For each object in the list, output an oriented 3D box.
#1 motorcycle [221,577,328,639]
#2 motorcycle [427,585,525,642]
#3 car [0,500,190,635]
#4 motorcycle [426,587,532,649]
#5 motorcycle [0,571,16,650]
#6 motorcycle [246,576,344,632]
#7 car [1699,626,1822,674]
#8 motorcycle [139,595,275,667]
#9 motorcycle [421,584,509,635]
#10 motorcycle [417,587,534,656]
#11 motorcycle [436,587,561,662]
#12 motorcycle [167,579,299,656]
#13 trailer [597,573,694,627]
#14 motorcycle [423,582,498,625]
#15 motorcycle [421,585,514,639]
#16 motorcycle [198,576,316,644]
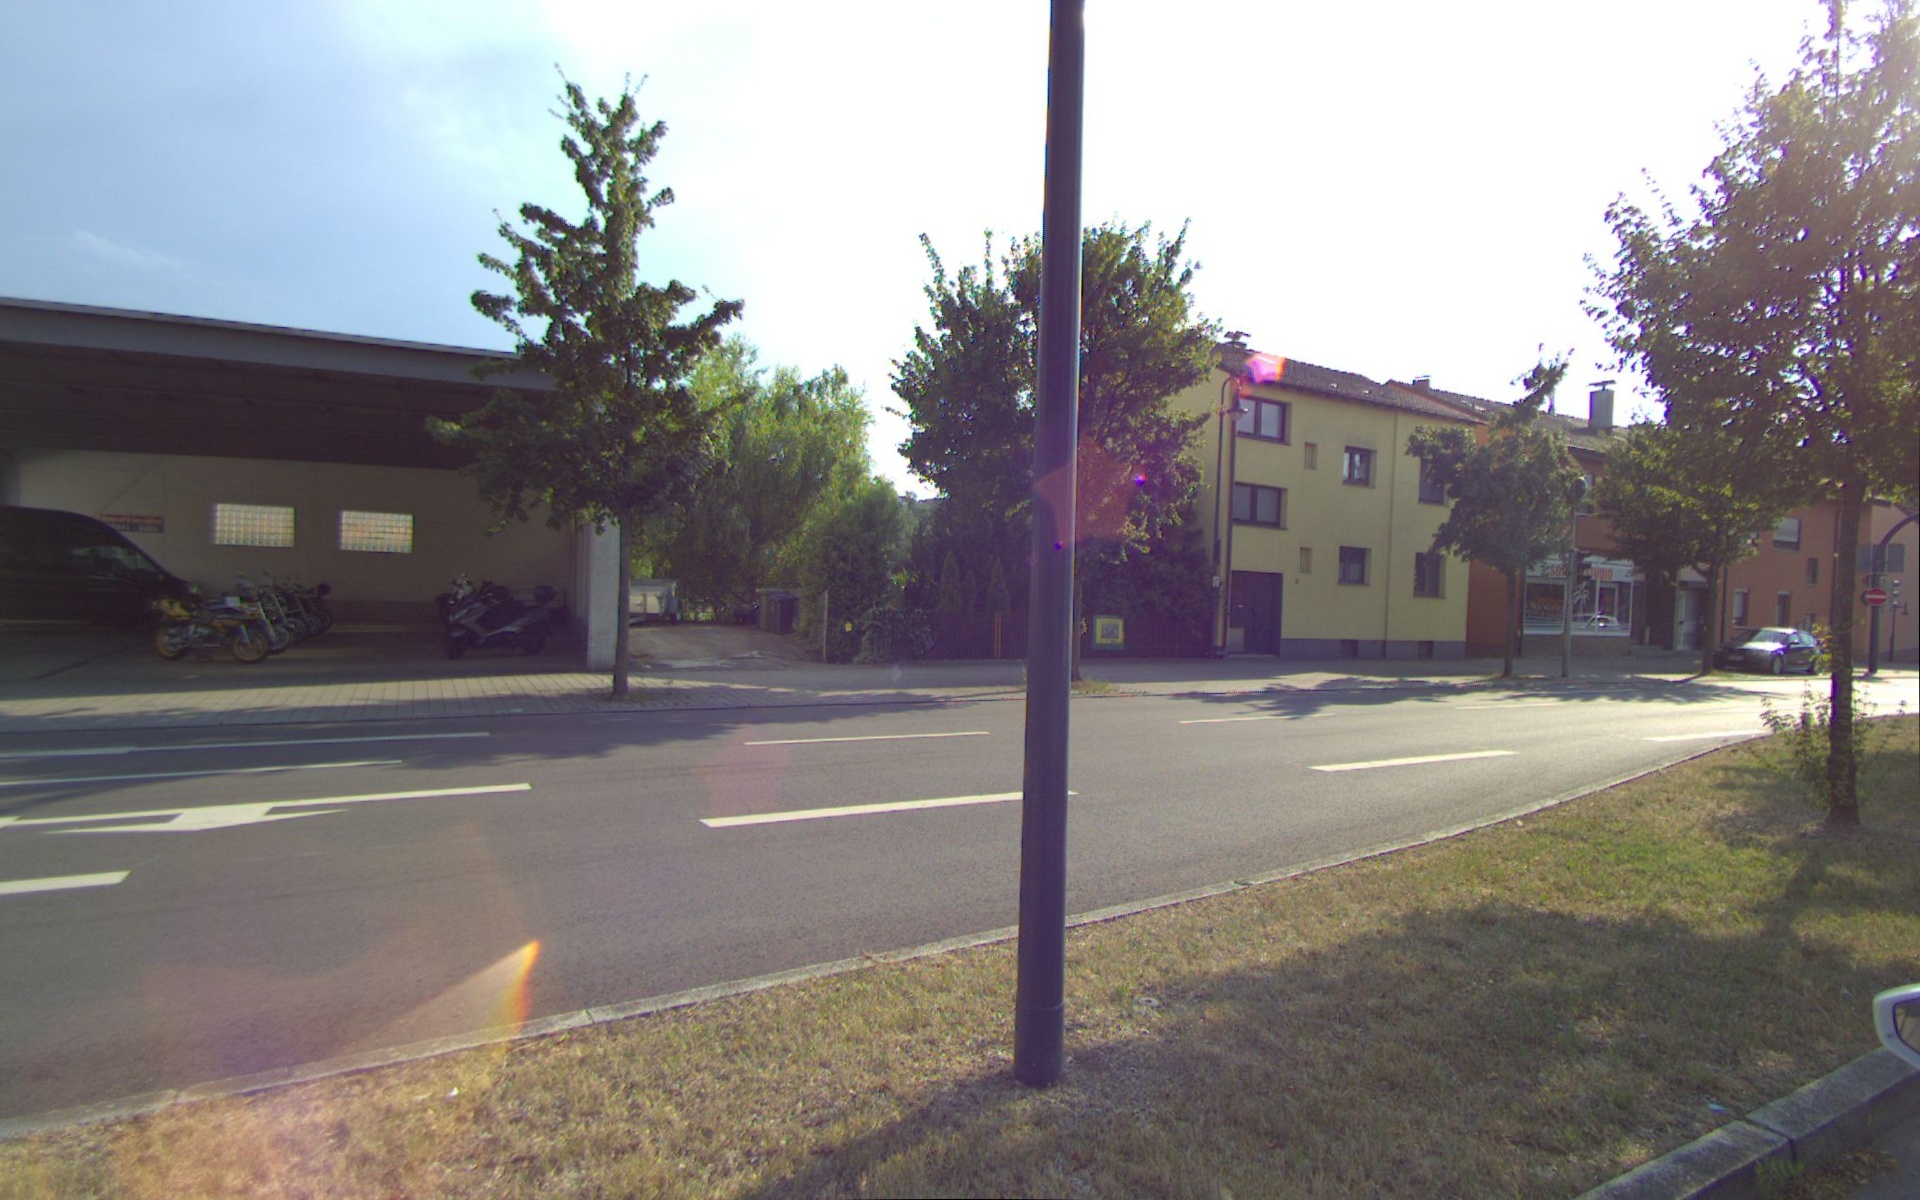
[{"bbox_3d":[-15.901,0.177,23.313,2.219,1.354,0.631,1,0,10],"label":"motorcycle"},{"bbox_3d":[-11.783,0.308,24.536,0.621,1.314,2.113,1,2,36],"label":"motorcycle"},{"bbox_3d":[-20.469,-0.686,22.090,1.962,2.789,5.280,1,0,26],"label":"car"},{"bbox_3d":[-10.759,0.380,22.536,0.621,1.314,2.113,1,2,36],"label":"motorcycle"},{"bbox_3d":[-17.304,0.165,16.724,0.619,1.380,2.225,1,0,24],"label":"motorcycle"},{"bbox_3d":[-16.925,0.098,25.572,2.219,1.354,0.631,1,0,10],"label":"motorcycle"},{"bbox_3d":[25.953,1.595,32.552,3.953,1.319,1.728,1,4,-30],"label":"car"},{"bbox_3d":[-12.513,0.500,16.696,1.993,1.101,0.631,1,0,12],"label":"motorcycle"},{"bbox_3d":[-13.529,0.236,27.517,0.621,1.314,2.113,1,2,36],"label":"motorcycle"},{"bbox_3d":[-9.829,0.398,20.458,0.621,1.314,2.113,1,2,36],"label":"motorcycle"},{"bbox_3d":[-8.636,0.427,18.896,0.621,1.314,2.113,1,2,36],"label":"motorcycle"},{"bbox_3d":[-13.649,0.315,18.861,2.219,1.354,0.631,1,0,10],"label":"motorcycle"},{"bbox_3d":[-8.233,-0.010,26.616,1.698,1.280,3.995,1,0,-7],"label":"trailer"},{"bbox_3d":[-15.975,0.096,32.176,0.621,1.314,2.113,1,2,36],"label":"motorcycle"},{"bbox_3d":[-12.665,0.288,25.919,0.621,1.314,2.113,1,2,36],"label":"motorcycle"},{"bbox_3d":[-14.769,0.201,21.104,2.219,1.354,0.631,1,0,10],"label":"motorcycle"}]
